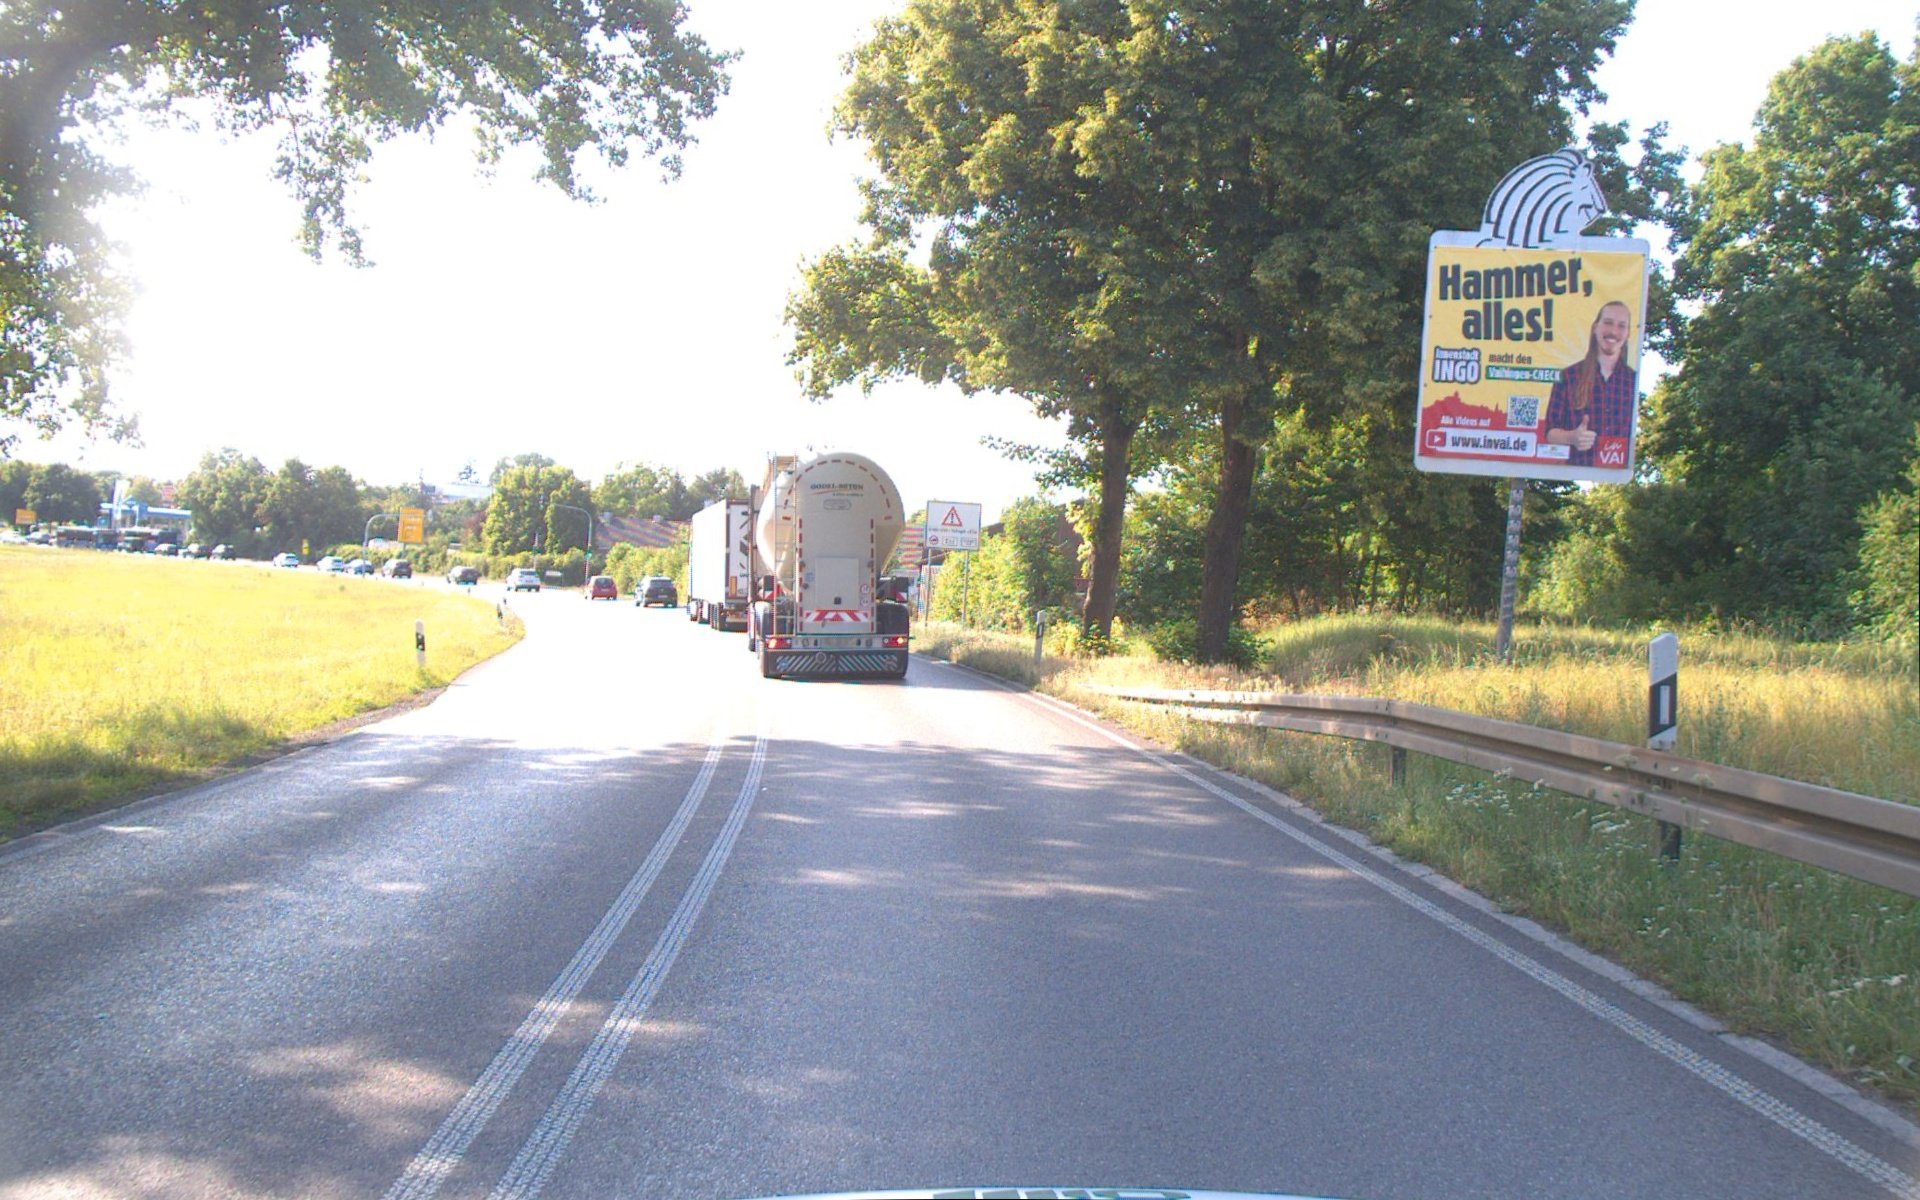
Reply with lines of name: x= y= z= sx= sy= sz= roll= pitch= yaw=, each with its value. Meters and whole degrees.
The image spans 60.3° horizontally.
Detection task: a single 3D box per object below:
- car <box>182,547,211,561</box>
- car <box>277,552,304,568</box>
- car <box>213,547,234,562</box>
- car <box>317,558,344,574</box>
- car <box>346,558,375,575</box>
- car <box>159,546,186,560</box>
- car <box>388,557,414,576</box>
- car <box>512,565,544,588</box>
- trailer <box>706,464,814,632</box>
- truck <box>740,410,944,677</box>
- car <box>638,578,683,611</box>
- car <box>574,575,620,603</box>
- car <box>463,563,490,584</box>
car: x=-93.035 y=-5.653 z=201.534 sx=2.074 sy=1.627 sz=3.940 roll=1 pitch=1 yaw=-41
car: x=-74.916 y=-4.519 z=185.037 sx=1.961 sy=1.685 sz=3.822 roll=1 pitch=0 yaw=-37
car: x=-90.705 y=-5.605 z=203.672 sx=1.713 sy=1.685 sz=3.824 roll=1 pitch=0 yaw=-36
car: x=-66.084 y=-3.551 z=173.653 sx=1.666 sy=1.586 sz=3.822 roll=1 pitch=0 yaw=-37
car: x=-60.308 y=-3.346 z=166.290 sx=1.666 sy=1.586 sz=3.822 roll=1 pitch=0 yaw=-37
car: x=-99.546 y=-5.920 z=209.032 sx=2.074 sy=1.627 sz=3.940 roll=1 pitch=1 yaw=-41
car: x=-53.352 y=-3.194 z=157.716 sx=1.505 sy=1.685 sz=3.830 roll=1 pitch=0 yaw=-32
car: x=-32.535 y=-1.737 z=124.442 sx=1.816 sy=1.685 sz=3.972 roll=1 pitch=0 yaw=-23
trailer: x=-6.767 y=-1.549 z=54.626 sx=2.910 sy=4.967 sz=10.263 roll=1 pitch=0 yaw=-10
truck: x=-2.660 y=-0.895 z=32.579 sx=2.921 sy=4.248 sz=11.637 roll=1 pitch=0 yaw=-9
car: x=-15.807 y=-0.298 z=87.240 sx=1.961 sy=1.685 sz=3.983 roll=1 pitch=0 yaw=-16
car: x=-22.862 y=-0.665 z=103.959 sx=2.265 sy=1.685 sz=4.390 roll=1 pitch=0 yaw=-20
car: x=-40.796 y=-2.246 z=139.454 sx=1.501 sy=1.685 sz=3.840 roll=1 pitch=0 yaw=-26
